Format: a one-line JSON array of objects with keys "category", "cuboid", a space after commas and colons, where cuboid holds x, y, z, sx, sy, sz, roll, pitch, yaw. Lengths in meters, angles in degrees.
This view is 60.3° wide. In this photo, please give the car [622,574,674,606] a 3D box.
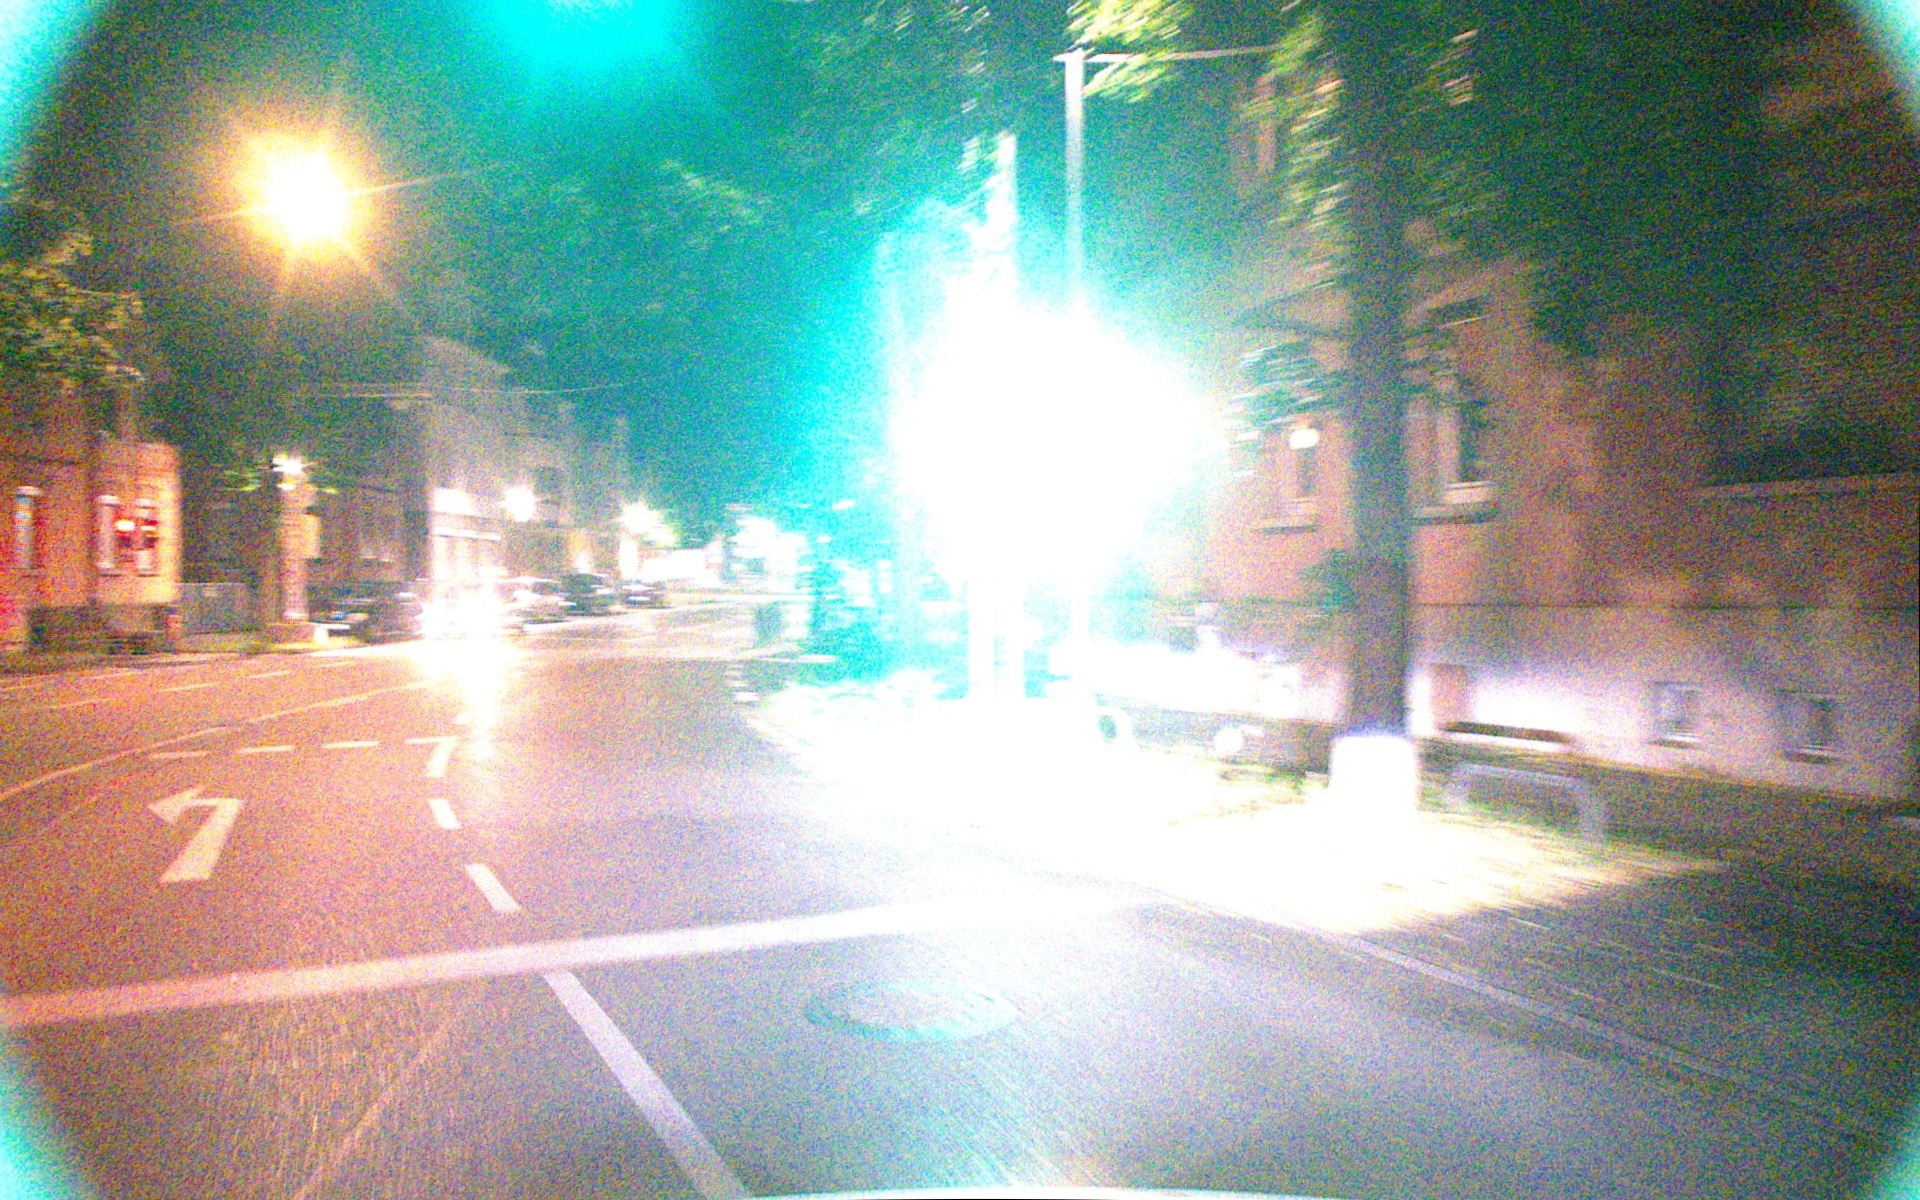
[{"category": "car", "cuboid": [-14.889, -0.508, 79.130, 1.748, 1.440, 4.126, 1, 1, -1]}]

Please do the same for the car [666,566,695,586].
[{"category": "car", "cuboid": [-23.714, -2.073, 140.567, 1.954, 1.601, 4.326, -1, 1, -3]}]

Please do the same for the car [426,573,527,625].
[{"category": "car", "cuboid": [-15.362, -0.066, 52.811, 1.747, 1.517, 4.331, 2, 1, 2]}]

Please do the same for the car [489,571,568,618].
[{"category": "car", "cuboid": [-15.159, -0.211, 58.273, 1.748, 1.517, 4.000, 2, 1, -1]}]

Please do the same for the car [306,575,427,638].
[{"category": "car", "cuboid": [-15.564, 0.132, 43.554, 1.559, 1.517, 3.702, 2, 1, 5]}]

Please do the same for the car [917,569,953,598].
[{"category": "car", "cuboid": [-1.335, -0.887, 87.739, 1.699, 1.485, 4.725, 0, 1, -3]}]

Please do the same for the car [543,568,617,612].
[{"category": "car", "cuboid": [-15.217, -0.435, 66.404, 1.747, 1.609, 4.413, 2, 1, 2]}]

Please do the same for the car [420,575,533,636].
[{"category": "car", "cuboid": [-12.671, 0.112, 43.600, 1.680, 1.454, 4.001, -2, 1, 1]}]
